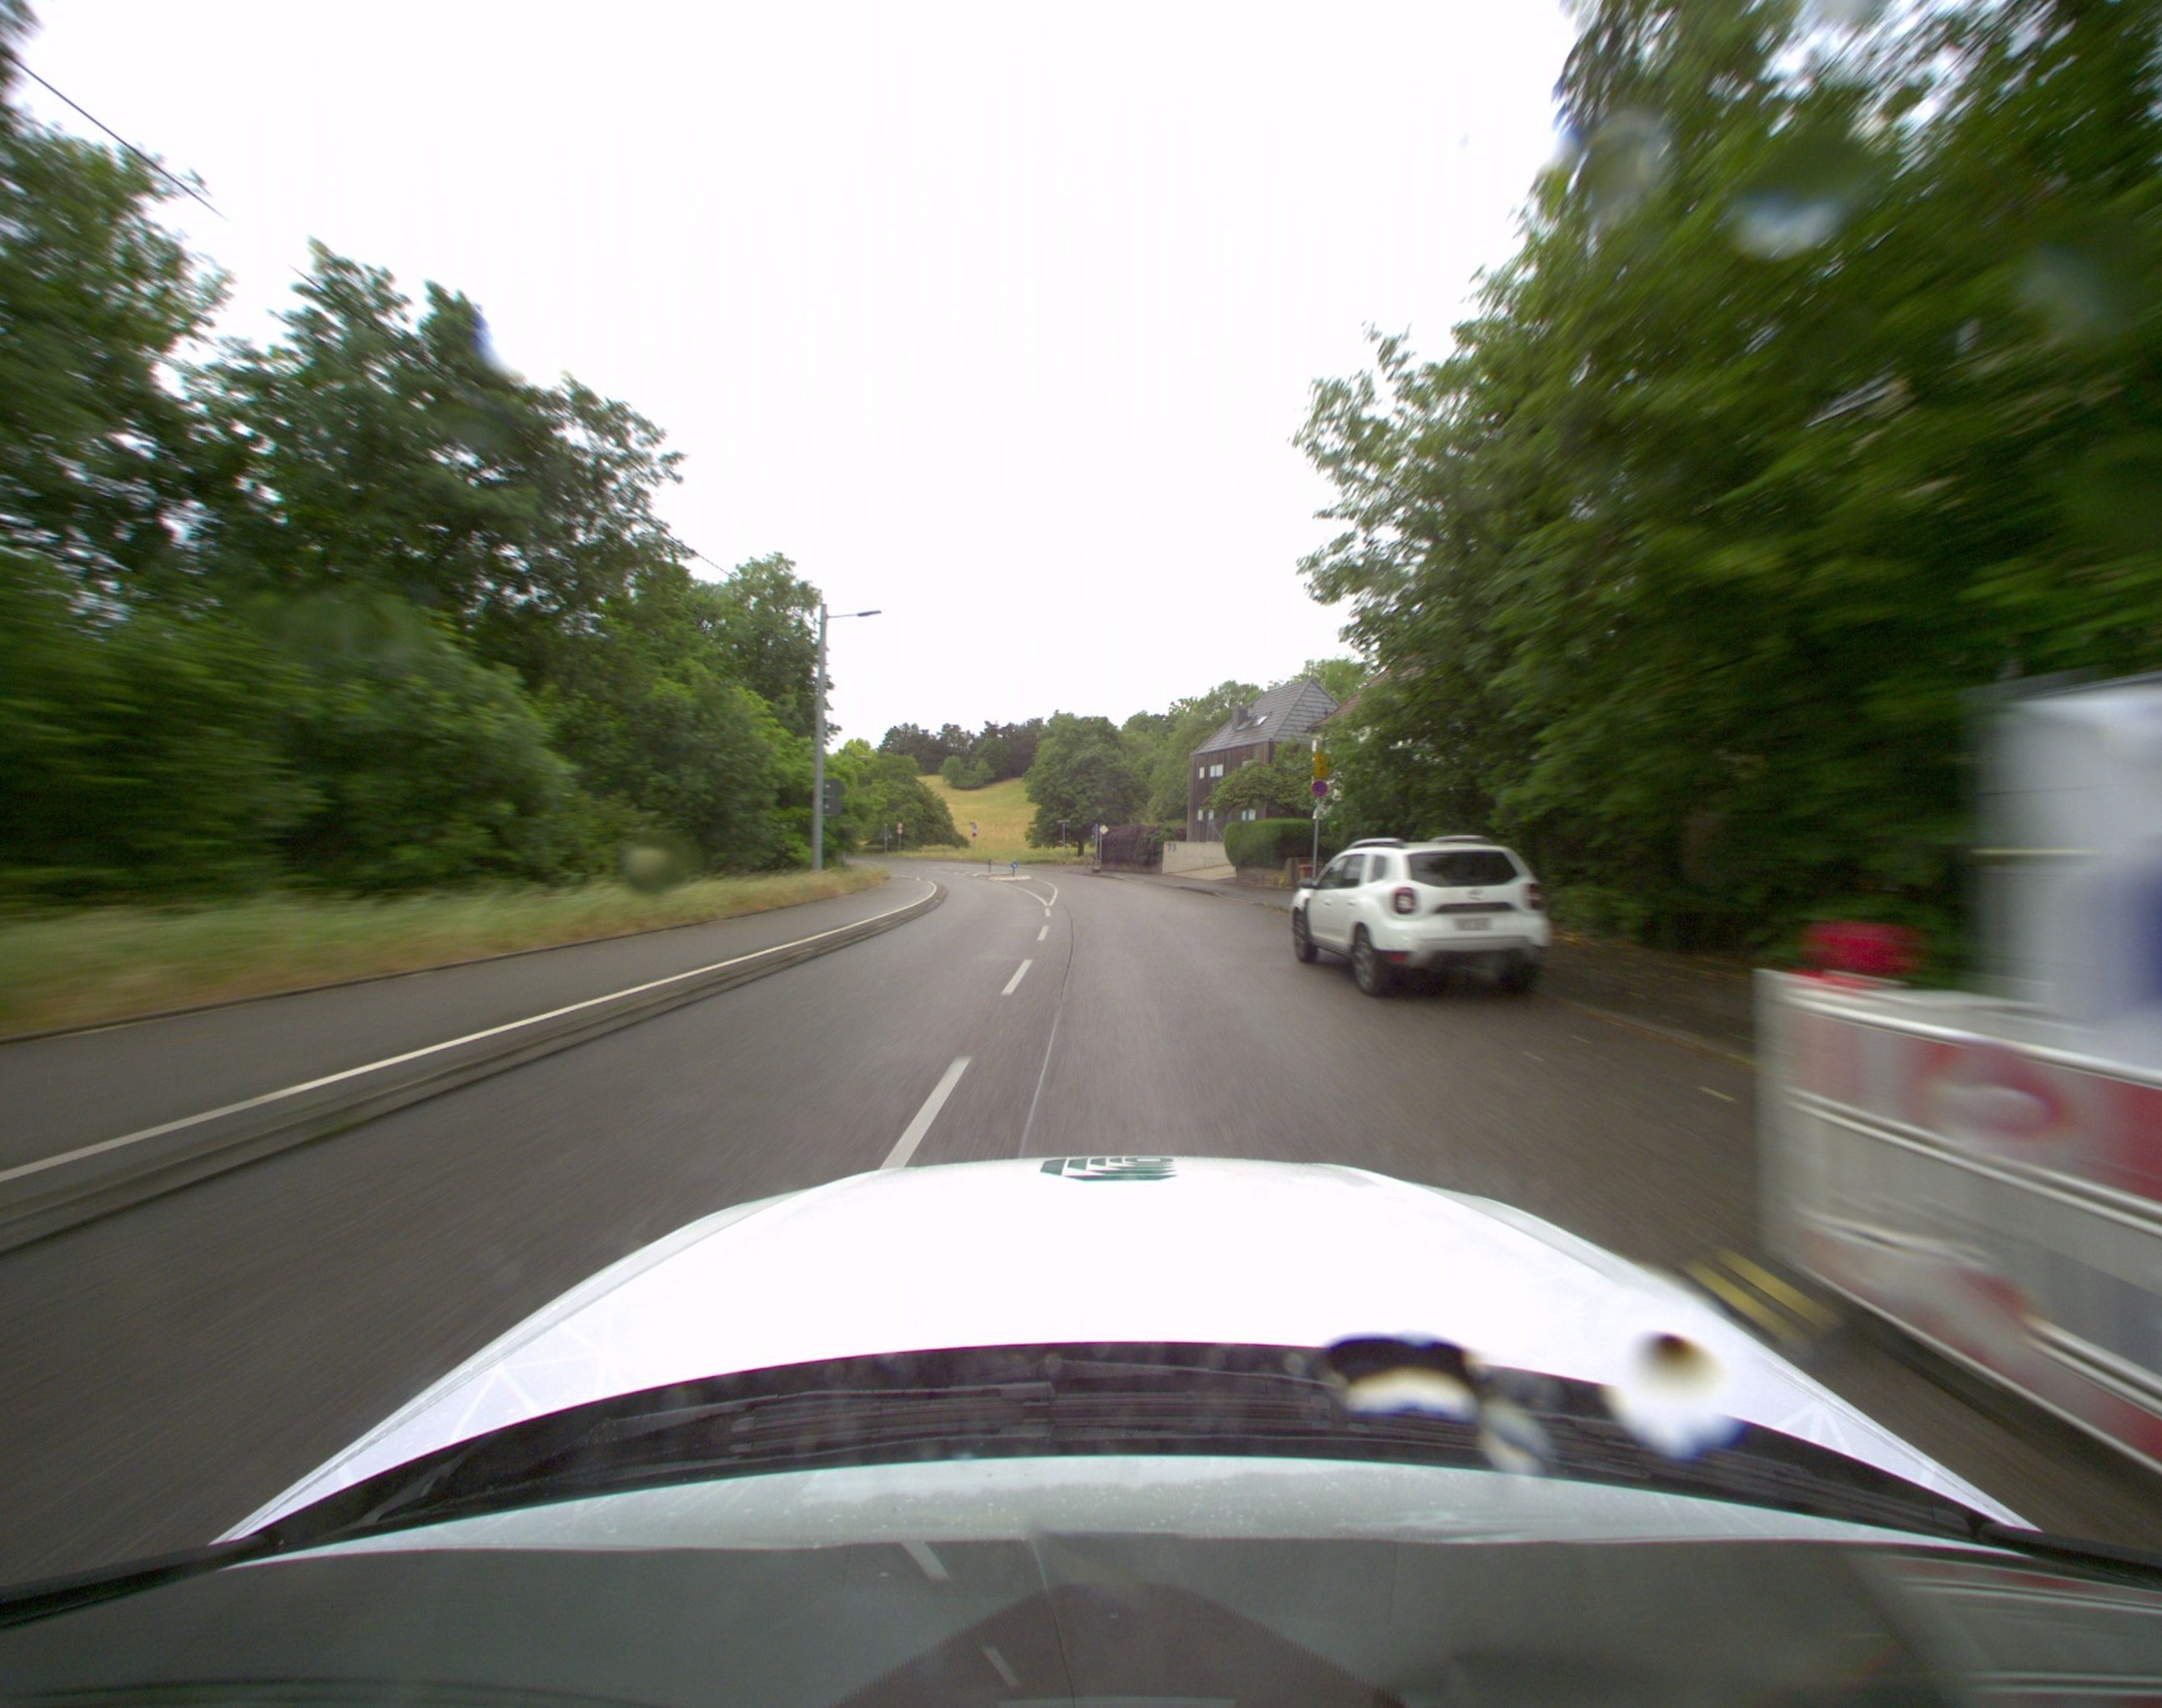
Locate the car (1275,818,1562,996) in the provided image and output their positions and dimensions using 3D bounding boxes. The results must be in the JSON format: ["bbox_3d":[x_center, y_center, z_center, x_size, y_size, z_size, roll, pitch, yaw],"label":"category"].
[{"bbox_3d":[3.840,0.509,10.221,1.739,1.706,4.501,-1,0,0],"label":"car"}]

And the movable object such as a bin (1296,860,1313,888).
[{"bbox_3d":[7.739,0.688,28.207,0.418,0.920,0.462,0,0,-9],"label":"movable object such as a bin"}]
